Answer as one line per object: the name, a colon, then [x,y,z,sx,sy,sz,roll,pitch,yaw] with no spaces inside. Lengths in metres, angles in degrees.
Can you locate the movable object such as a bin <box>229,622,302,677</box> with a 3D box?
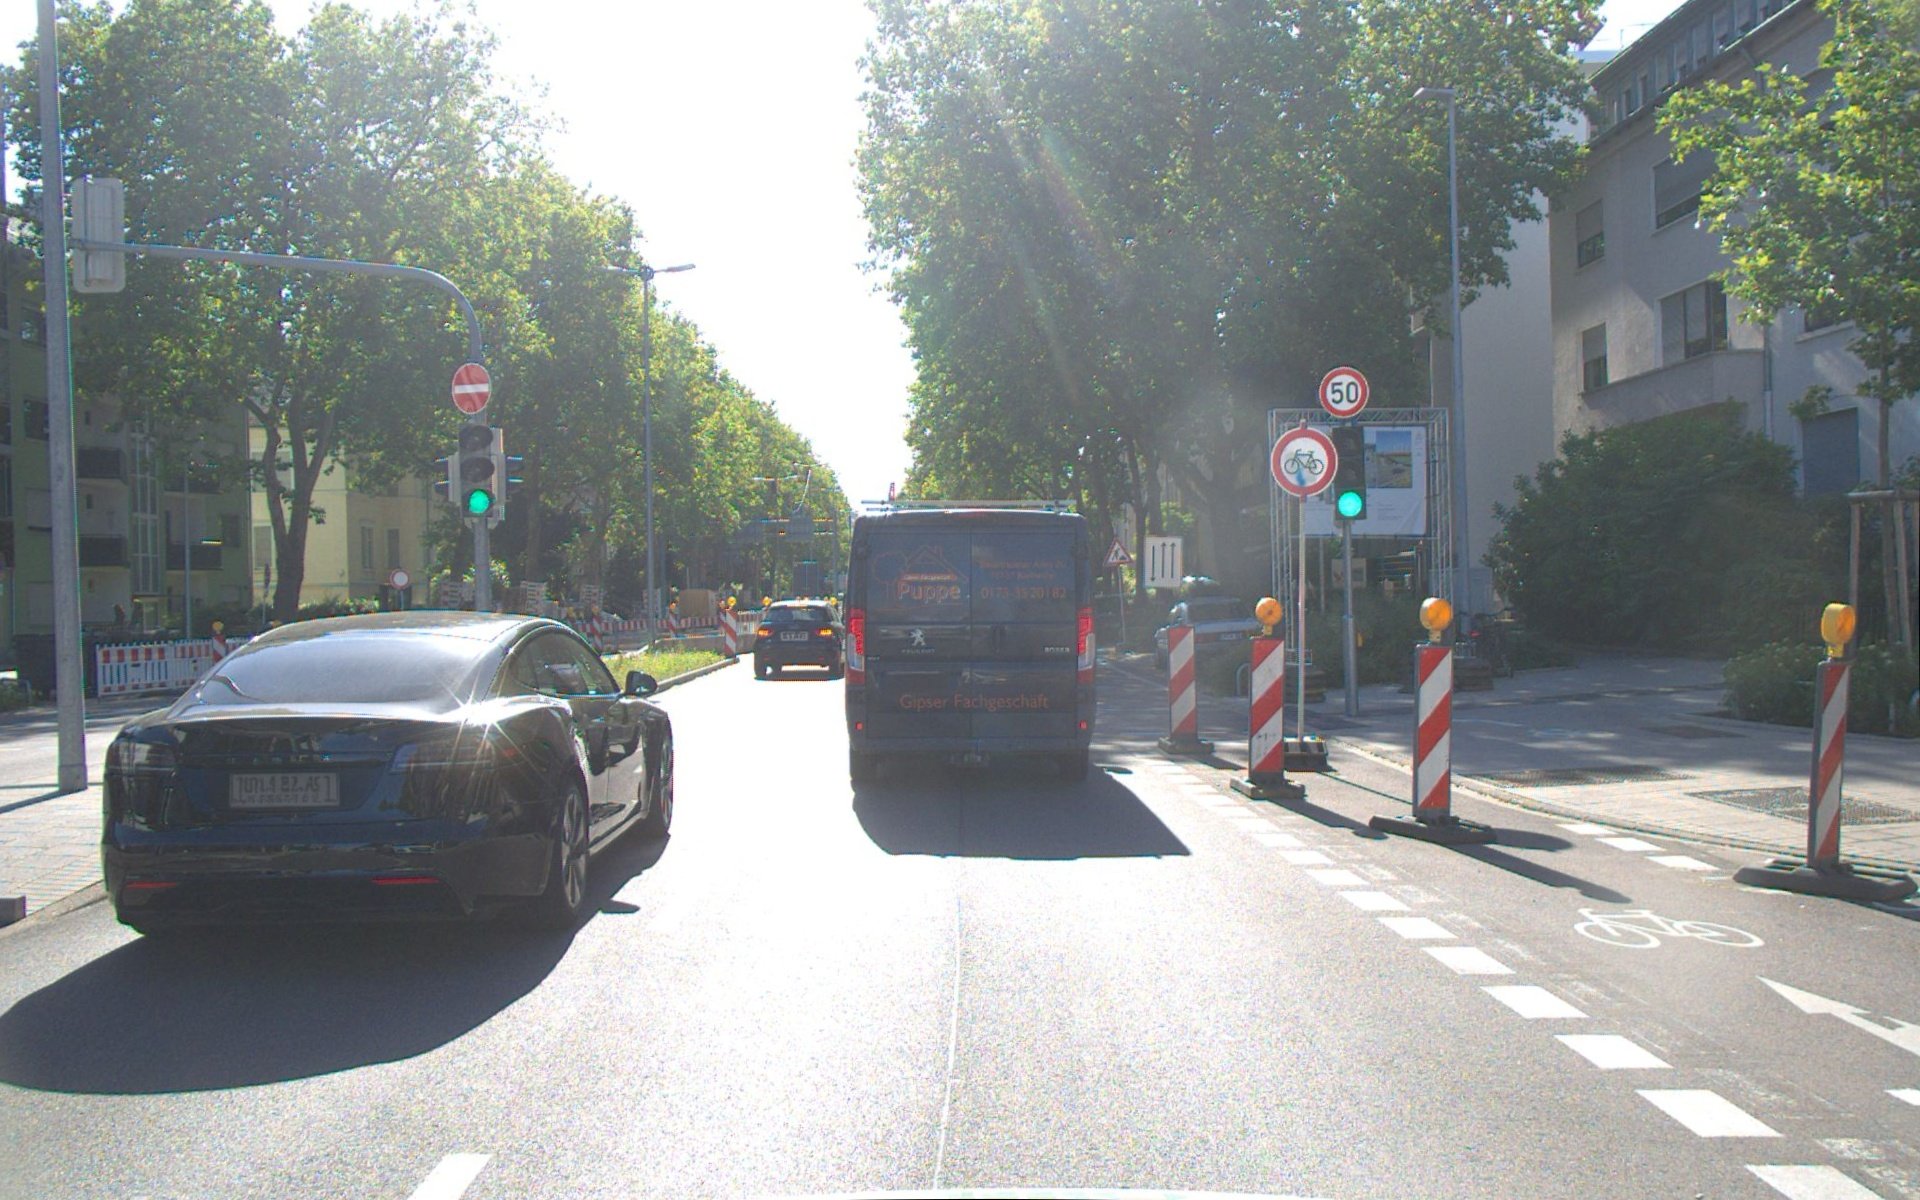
movable object such as a bin: [-17.919,1.278,42.692,1.381,1.361,1.157,-1,0,0]

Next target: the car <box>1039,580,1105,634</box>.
car: [4.310,0.262,64.410,1.985,1.980,5.271,-1,0,-2]

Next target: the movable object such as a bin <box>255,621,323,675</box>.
movable object such as a bin: [-17.761,1.263,43.784,1.381,1.361,0.936,-1,0,0]

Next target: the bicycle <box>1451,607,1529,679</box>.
bicycle: [7.997,0.628,24.896,0.577,1.022,2.126,-1,0,33]

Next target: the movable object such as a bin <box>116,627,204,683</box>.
movable object such as a bin: [-18.087,1.233,37.416,1.365,1.224,1.241,-1,0,1]

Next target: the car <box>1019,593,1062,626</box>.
car: [3.924,0.461,81.060,1.785,1.534,4.676,-2,0,-1]

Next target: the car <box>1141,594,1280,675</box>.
car: [4.977,0.645,33.517,1.815,1.505,4.939,-1,0,-3]

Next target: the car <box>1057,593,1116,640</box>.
car: [4.376,0.560,57.721,1.624,1.567,4.127,0,0,-2]

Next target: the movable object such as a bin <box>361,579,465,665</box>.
movable object such as a bin: [-18.500,0.713,56.217,2.104,2.753,5.349,-1,0,-4]

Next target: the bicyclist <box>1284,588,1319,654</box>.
bicyclist: [9.641,0.586,46.715,0.709,1.852,1.070,-1,0,-1]

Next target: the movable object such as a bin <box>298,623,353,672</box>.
movable object such as a bin: [-17.685,1.306,46.123,0.960,1.293,1.540,-1,0,-2]

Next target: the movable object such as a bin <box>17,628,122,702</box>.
movable object such as a bin: [-17.921,1.288,33.346,1.091,1.412,1.855,-1,0,0]

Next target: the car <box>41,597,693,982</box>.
car: [-2.669,0.728,8.733,1.886,1.436,4.624,-1,0,-2]

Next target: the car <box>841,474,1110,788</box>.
car: [0.046,0.212,14.641,2.053,2.396,3.931,0,1,-3]

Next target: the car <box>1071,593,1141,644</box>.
car: [4.598,0.573,52.736,1.728,1.534,4.249,-1,0,-2]

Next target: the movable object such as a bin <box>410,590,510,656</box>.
movable object such as a bin: [-18.773,0.830,62.390,1.952,2.318,5.599,-2,0,1]

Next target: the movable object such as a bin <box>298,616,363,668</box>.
movable object such as a bin: [-18.242,1.200,47.928,1.611,1.447,1.252,-1,0,-27]

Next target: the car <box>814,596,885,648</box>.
car: [-3.276,0.636,49.840,1.872,1.469,4.601,-1,0,-1]

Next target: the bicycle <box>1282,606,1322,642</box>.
bicycle: [9.623,0.663,46.593,0.766,0.983,1.823,-1,0,0]

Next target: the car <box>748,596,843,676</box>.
car: [-3.203,0.661,32.800,1.711,1.432,3.998,0,1,-3]
